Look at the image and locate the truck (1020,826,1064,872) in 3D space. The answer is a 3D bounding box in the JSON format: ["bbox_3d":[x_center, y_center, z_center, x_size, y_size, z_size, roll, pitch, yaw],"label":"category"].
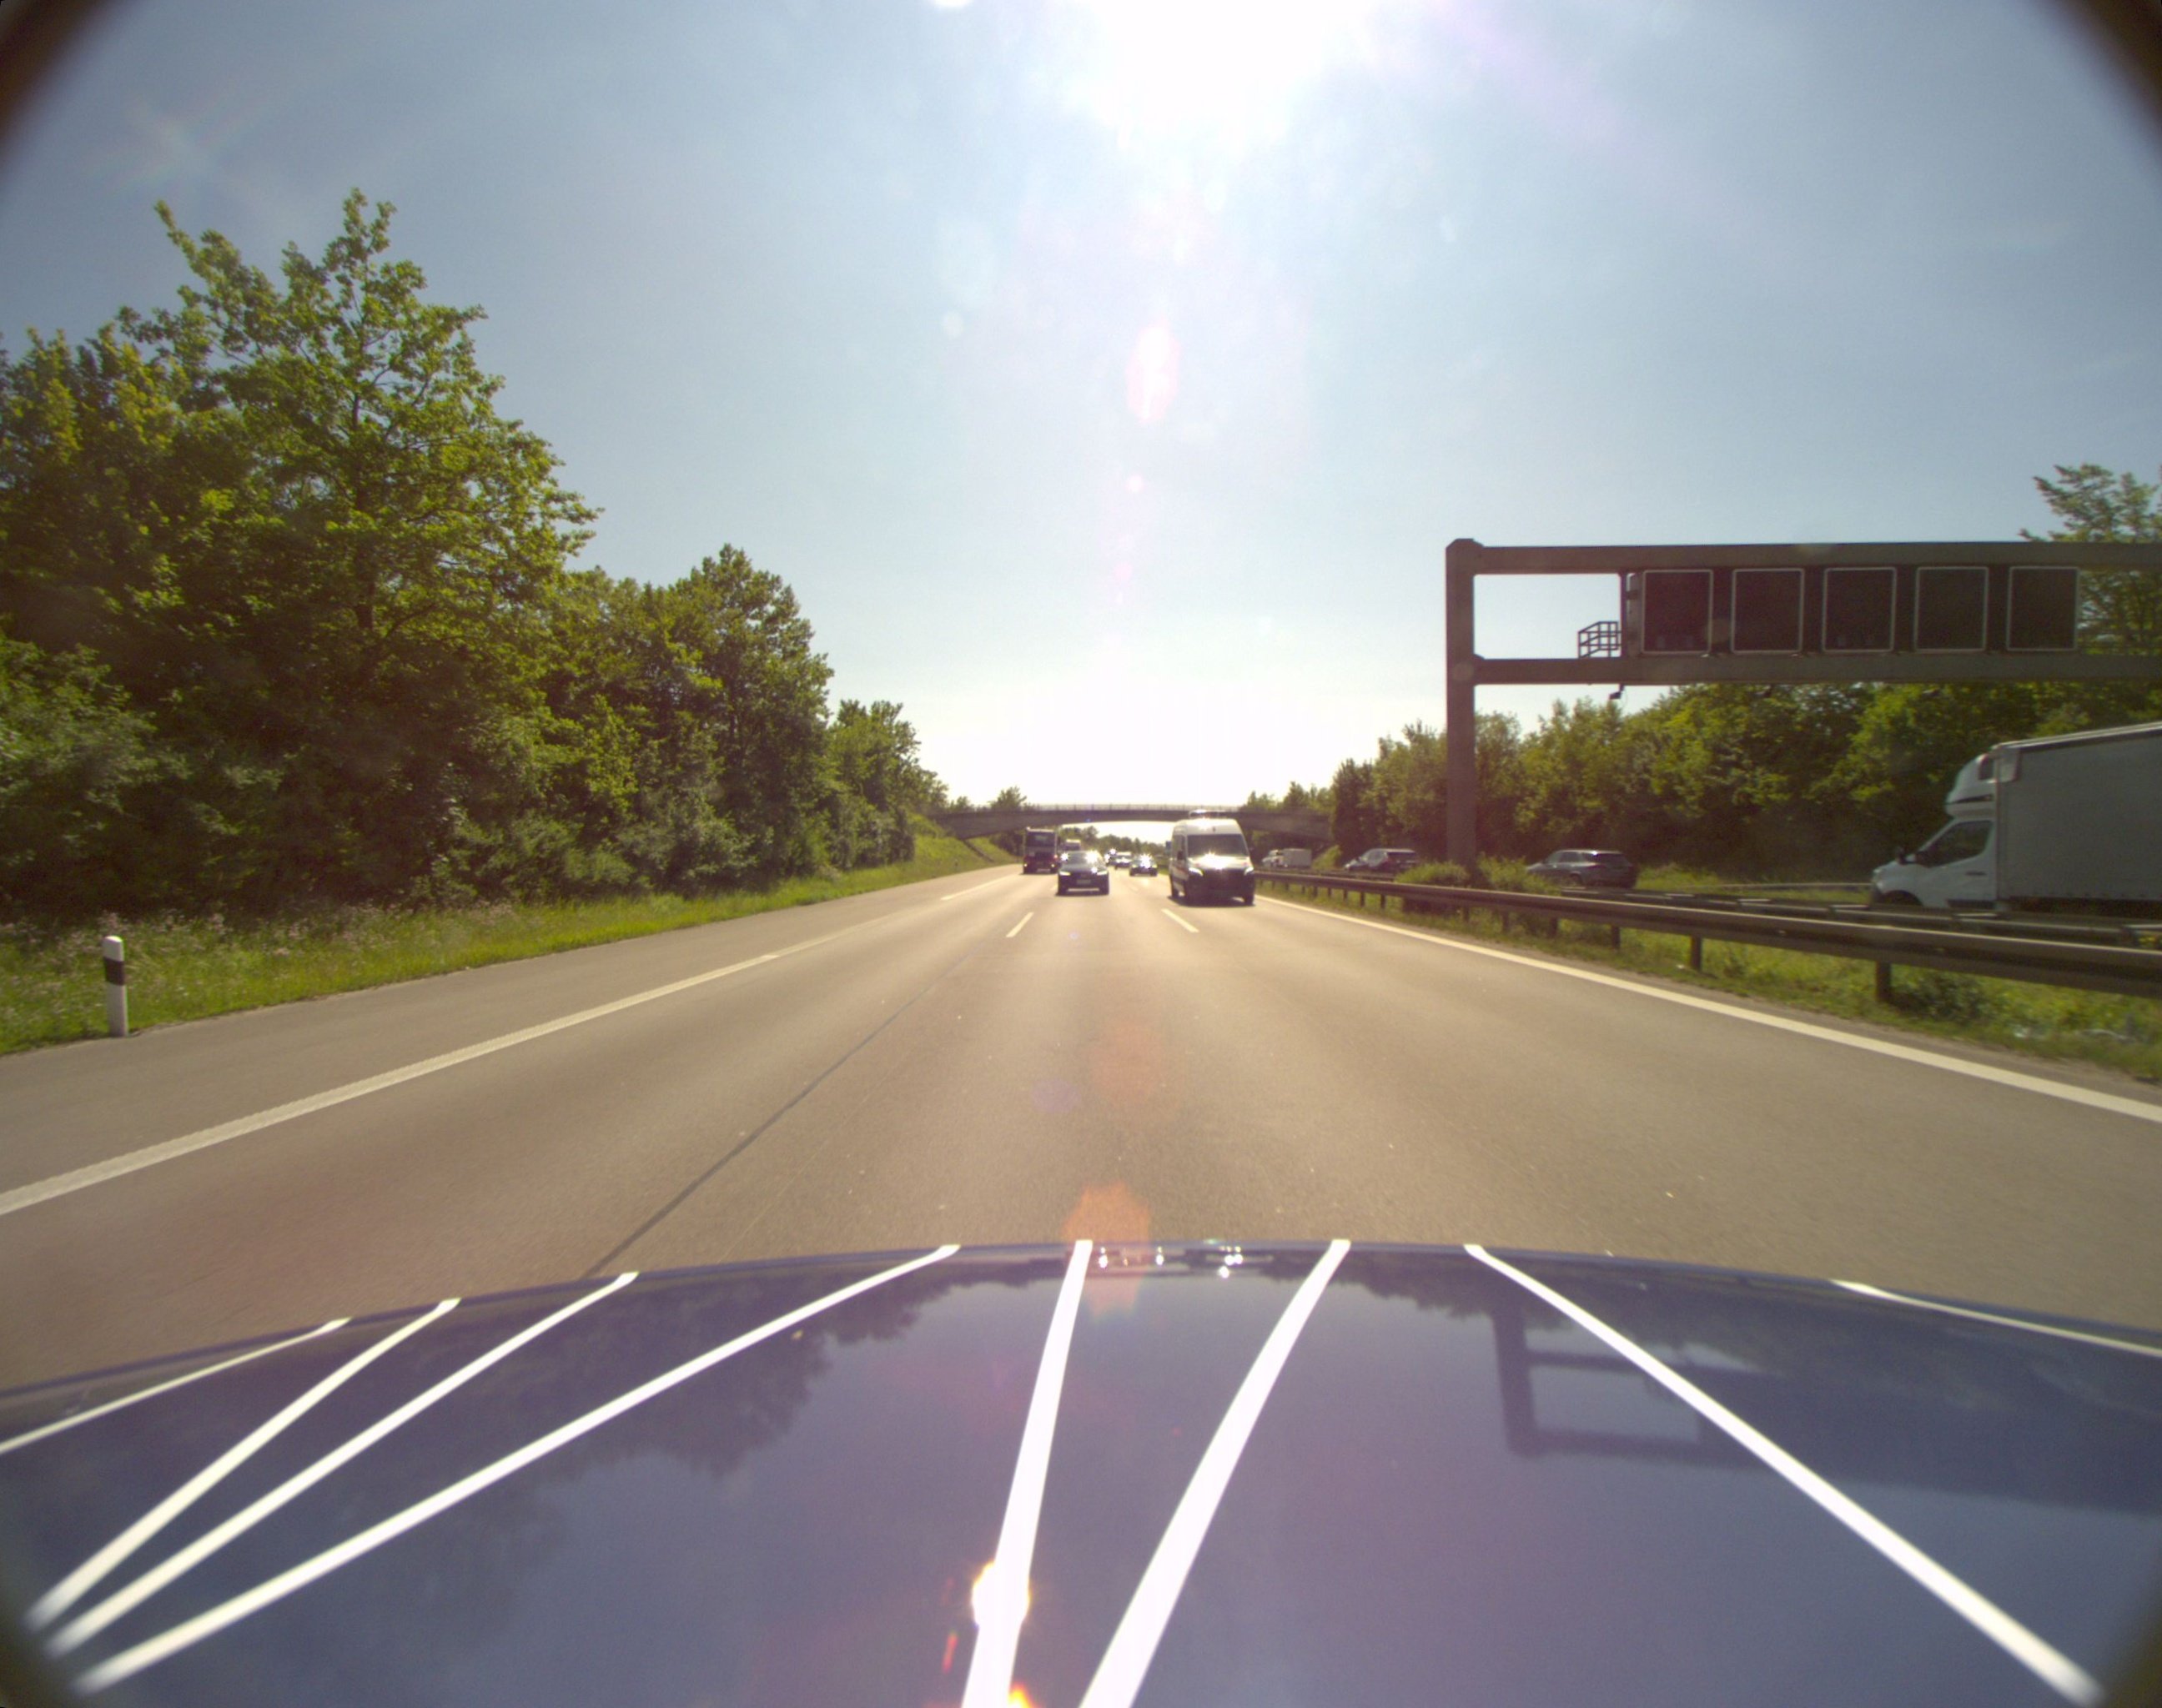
[{"bbox_3d":[-2.917,-0.381,59.703,2.965,3.388,8.047,0,0,0],"label":"truck"}]

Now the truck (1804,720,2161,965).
[{"bbox_3d":[15.882,-0.174,11.189,2.786,3.285,8.057,0,1,0],"label":"truck"}]

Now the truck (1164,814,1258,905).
[{"bbox_3d":[4.003,0.136,24.602,1.998,2.527,6.691,0,1,1],"label":"truck"}]

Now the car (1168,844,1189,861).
[{"bbox_3d":[17.529,-0.219,137.419,2.553,2.952,6.996,0,0,-3],"label":"car"}]

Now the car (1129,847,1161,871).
[{"bbox_3d":[4.493,0.366,53.750,1.904,1.616,4.240,-1,0,1],"label":"car"}]

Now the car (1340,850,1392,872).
[{"bbox_3d":[20.350,0.460,54.459,1.998,1.434,4.532,0,1,0],"label":"car"}]

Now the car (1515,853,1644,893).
[{"bbox_3d":[20.060,0.708,30.896,1.907,1.456,5.065,0,0,0],"label":"car"}]

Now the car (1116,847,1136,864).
[{"bbox_3d":[4.676,0.116,78.753,1.870,1.713,3.980,0,1,1],"label":"car"}]

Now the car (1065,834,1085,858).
[{"bbox_3d":[-0.914,-1.299,130.300,3.202,3.997,8.126,0,0,1],"label":"car"}]

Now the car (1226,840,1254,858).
[{"bbox_3d":[17.354,-0.525,83.202,1.998,1.902,5.196,0,0,1],"label":"car"}]

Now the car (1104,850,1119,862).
[{"bbox_3d":[4.185,0.251,103.590,1.998,1.540,4.000,0,1,3],"label":"car"}]

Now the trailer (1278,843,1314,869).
[{"bbox_3d":[16.099,0.095,56.968,1.624,1.824,3.920,0,1,1],"label":"trailer"}]

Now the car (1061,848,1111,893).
[{"bbox_3d":[0.214,0.578,29.488,1.812,1.648,4.000,0,1,1],"label":"car"}]

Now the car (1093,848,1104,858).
[{"bbox_3d":[3.276,-0.266,140.418,1.998,1.820,4.393,0,0,1],"label":"car"}]

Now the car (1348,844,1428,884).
[{"bbox_3d":[12.876,0.401,32.121,1.783,1.608,4.060,0,0,1],"label":"car"}]

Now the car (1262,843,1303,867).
[{"bbox_3d":[16.112,0.016,61.104,1.998,1.795,5.125,0,1,1],"label":"car"}]
